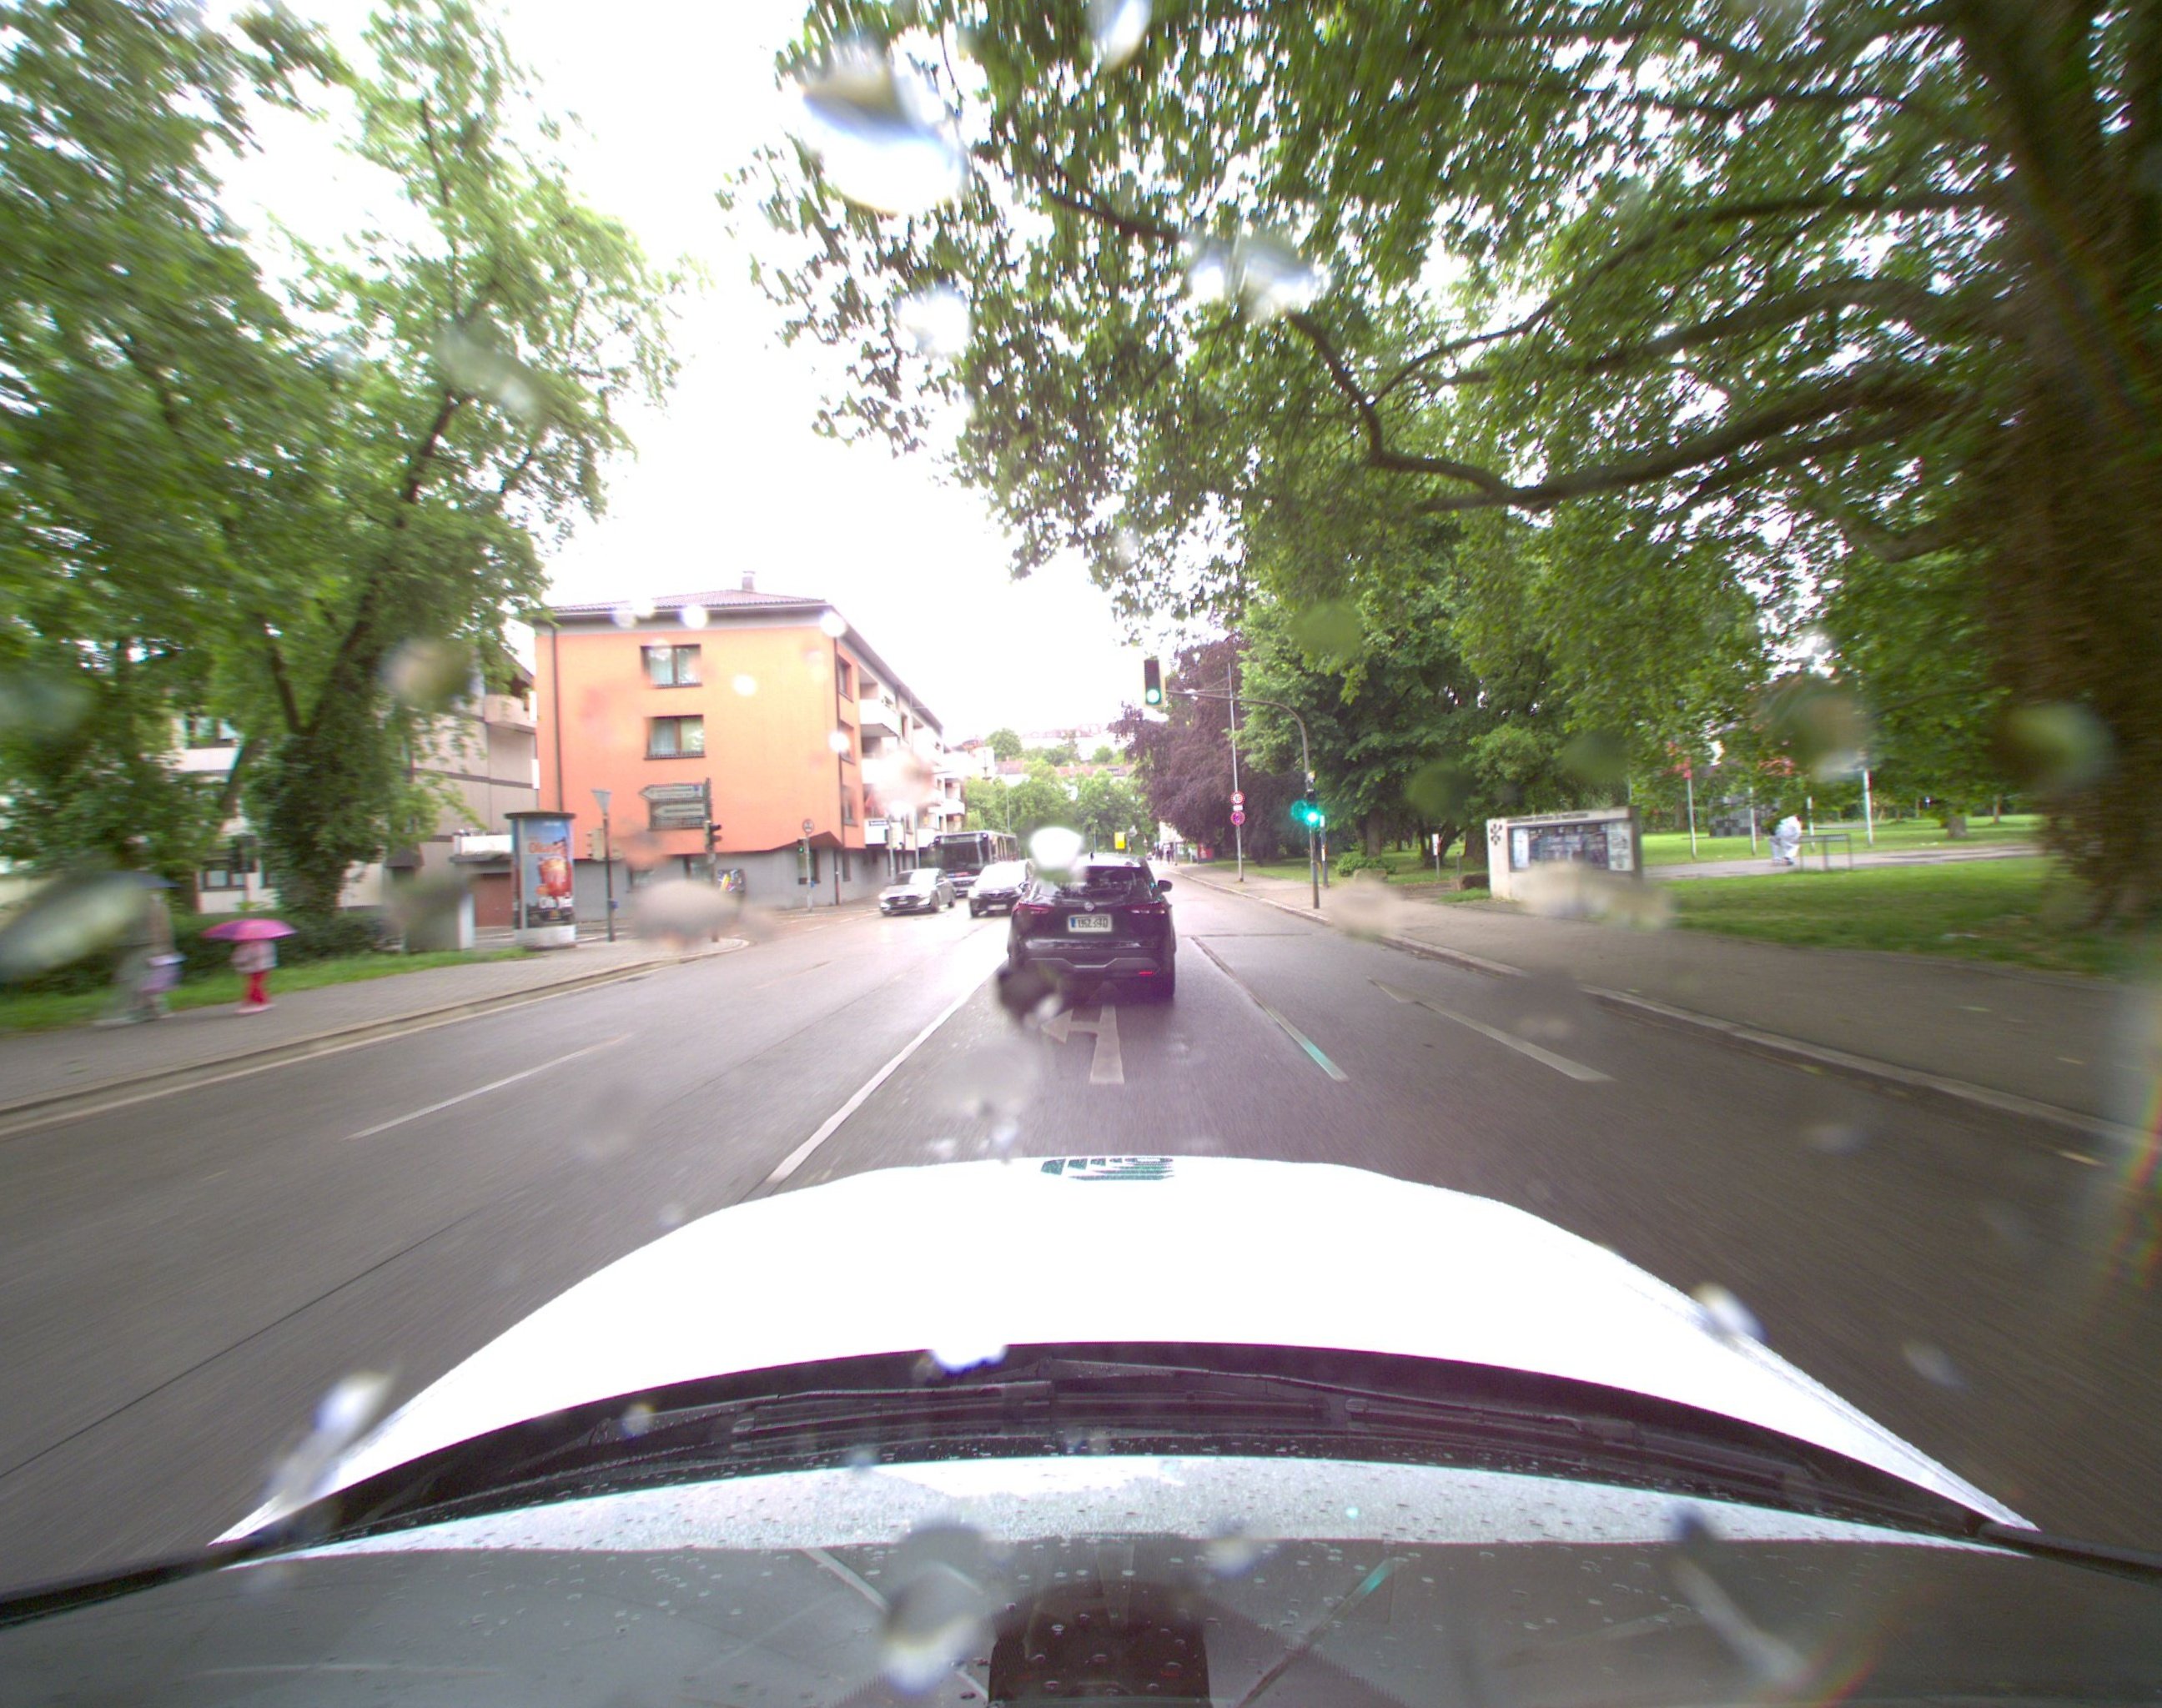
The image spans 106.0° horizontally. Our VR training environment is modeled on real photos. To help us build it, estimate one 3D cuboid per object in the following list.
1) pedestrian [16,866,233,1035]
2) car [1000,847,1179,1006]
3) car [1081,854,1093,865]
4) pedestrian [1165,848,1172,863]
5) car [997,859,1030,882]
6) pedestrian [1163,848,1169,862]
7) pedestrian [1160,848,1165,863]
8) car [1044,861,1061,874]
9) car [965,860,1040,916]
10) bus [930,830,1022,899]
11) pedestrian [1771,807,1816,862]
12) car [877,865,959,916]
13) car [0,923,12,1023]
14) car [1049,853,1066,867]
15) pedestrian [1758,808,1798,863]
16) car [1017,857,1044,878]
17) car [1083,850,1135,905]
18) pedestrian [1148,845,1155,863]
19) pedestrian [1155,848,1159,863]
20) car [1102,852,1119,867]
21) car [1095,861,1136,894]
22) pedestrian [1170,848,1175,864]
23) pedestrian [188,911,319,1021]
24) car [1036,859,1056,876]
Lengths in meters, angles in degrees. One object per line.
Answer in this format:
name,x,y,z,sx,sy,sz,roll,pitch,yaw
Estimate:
pedestrian,-10.623,1.014,9.111,0.988,1.742,1.209,-1,0,1
car,0.141,0.756,10.250,1.799,1.590,4.001,-1,-1,2
car,1.041,0.863,134.050,1.757,1.758,3.636,-3,0,2
pedestrian,9.765,0.160,90.600,0.696,1.651,0.628,-1,-1,2
car,-4.727,1.135,57.491,1.769,1.469,4.217,-4,0,0
pedestrian,10.506,0.138,100.605,0.616,1.779,0.778,-4,0,1
pedestrian,9.026,0.167,90.572,0.542,1.651,0.490,-1,-1,2
car,-3.068,1.455,88.525,1.671,1.296,3.751,-4,0,0
car,-2.209,0.934,23.782,1.618,1.415,3.456,-4,0,2
bus,-5.111,0.500,42.268,2.756,2.974,11.785,-3,0,2
pedestrian,22.341,-0.603,25.546,0.663,1.712,0.788,0,-1,-7
car,-5.404,1.171,27.503,1.802,1.417,4.030,-4,0,0
car,-18.094,1.832,11.775,3.182,1.524,1.507,-1,-1,-1
car,-2.876,0.703,100.963,1.743,1.633,3.636,-3,0,2
pedestrian,22.670,-0.594,26.499,0.663,1.756,0.722,0,-1,-7
car,-4.067,1.073,65.910,1.741,1.469,4.217,-4,0,0
car,1.026,0.761,28.566,1.615,1.709,3.774,-4,0,3
pedestrian,8.784,0.038,101.631,0.764,2.184,0.712,-1,-1,4
pedestrian,8.429,0.170,90.360,0.473,1.651,0.490,-1,-1,2
car,2.935,0.541,81.284,1.618,1.415,3.456,-4,0,2
car,1.592,1.077,39.008,1.802,1.417,4.030,-2,0,1
pedestrian,9.970,0.215,88.767,0.513,1.655,0.550,-1,-1,1
pedestrian,-9.729,1.293,9.609,0.682,1.175,0.827,-1,0,1
car,-3.347,1.274,78.743,1.671,1.469,4.217,-4,0,0
